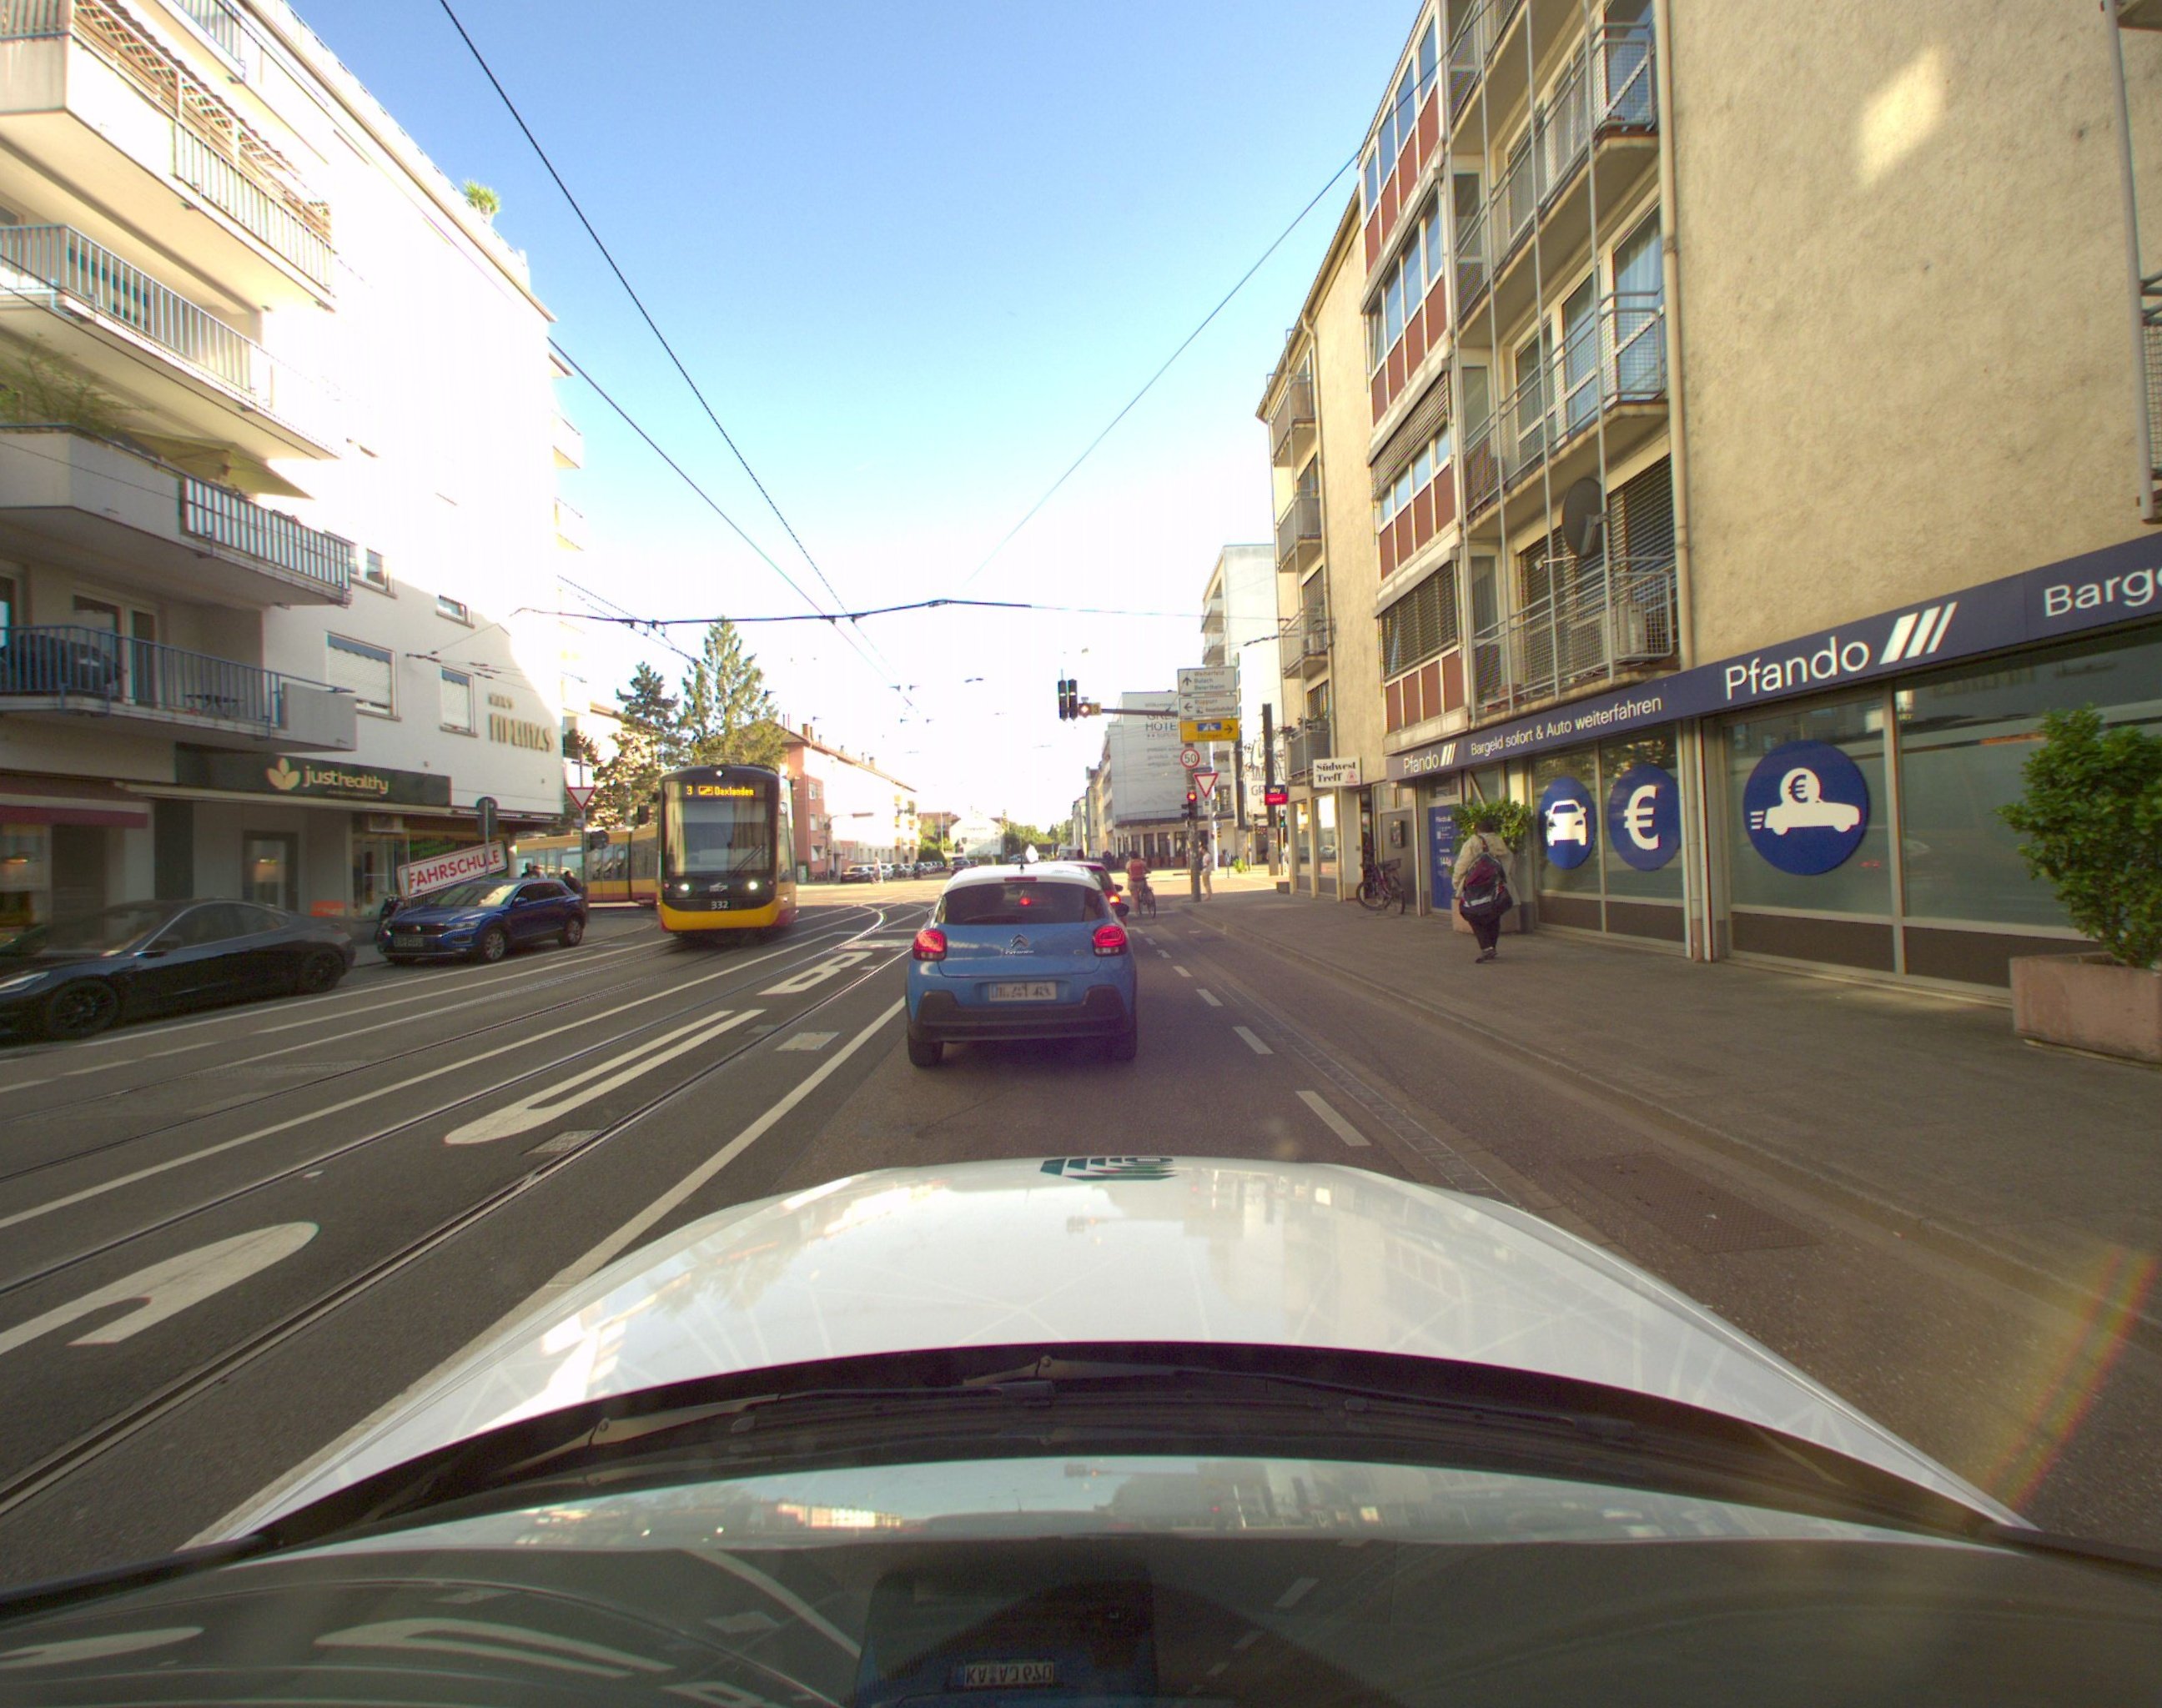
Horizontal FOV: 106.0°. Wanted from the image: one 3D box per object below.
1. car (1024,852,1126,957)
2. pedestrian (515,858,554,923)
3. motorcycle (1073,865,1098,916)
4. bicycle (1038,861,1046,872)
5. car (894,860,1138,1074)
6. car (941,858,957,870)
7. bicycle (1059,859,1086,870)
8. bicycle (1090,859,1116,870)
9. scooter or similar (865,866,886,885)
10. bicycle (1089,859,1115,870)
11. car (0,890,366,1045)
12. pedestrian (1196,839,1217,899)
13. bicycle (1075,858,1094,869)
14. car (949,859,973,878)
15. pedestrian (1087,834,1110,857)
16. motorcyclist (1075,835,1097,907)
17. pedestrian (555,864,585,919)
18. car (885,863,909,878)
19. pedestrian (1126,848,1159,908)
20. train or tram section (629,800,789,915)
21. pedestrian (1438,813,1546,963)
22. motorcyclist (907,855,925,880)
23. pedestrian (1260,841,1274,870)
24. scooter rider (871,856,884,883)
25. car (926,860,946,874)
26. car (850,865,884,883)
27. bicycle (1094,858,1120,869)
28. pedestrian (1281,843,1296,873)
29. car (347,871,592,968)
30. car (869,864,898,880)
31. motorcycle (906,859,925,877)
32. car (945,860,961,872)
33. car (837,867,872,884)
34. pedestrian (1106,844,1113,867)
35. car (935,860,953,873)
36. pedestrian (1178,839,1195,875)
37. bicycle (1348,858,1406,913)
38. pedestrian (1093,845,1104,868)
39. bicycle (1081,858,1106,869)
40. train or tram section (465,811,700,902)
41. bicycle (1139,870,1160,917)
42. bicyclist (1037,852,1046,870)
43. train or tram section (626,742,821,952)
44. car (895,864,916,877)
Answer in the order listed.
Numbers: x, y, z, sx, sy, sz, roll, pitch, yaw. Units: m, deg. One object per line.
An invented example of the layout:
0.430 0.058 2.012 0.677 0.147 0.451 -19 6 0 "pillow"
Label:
-0.037 0.752 13.286 1.419 1.467 2.925 -2 -1 2 "car"
-17.154 1.130 25.588 0.767 2.014 0.694 0 -1 -4 "pedestrian"
0.119 0.835 19.545 0.524 1.139 2.290 0 -1 2 "motorcycle"
-3.321 1.015 68.746 0.349 0.903 1.850 0 -1 -14 "bicycle"
-0.387 0.780 7.290 1.648 1.444 3.524 0 -1 2 "car"
-19.003 1.397 117.333 1.828 1.687 3.998 0 -1 -1 "car"
-0.708 0.875 66.397 2.130 0.901 0.366 0 -1 -7 "bicycle"
1.848 0.863 67.215 2.130 0.901 0.366 0 -1 -7 "bicycle"
-14.445 1.527 57.265 1.350 1.269 0.442 -3 -1 -10 "scooter or similar"
1.780 0.890 67.646 2.130 0.901 0.366 0 -1 -7 "bicycle"
-11.998 1.291 10.433 1.816 1.387 4.425 -3 0 -2 "car"
3.752 0.439 24.413 0.515 1.783 0.595 0 -1 0 "pedestrian"
0.296 0.820 69.573 1.765 0.901 0.369 -1 -1 36 "bicycle"
-11.325 1.341 76.849 1.770 1.666 3.854 0 -1 -2 "car"
1.634 -0.730 73.677 1.986 2.014 4.001 0 -1 2 "pedestrian"
0.126 0.401 19.736 0.524 1.716 0.717 0 -1 1 "motorcyclist"
-17.108 1.252 27.280 0.569 1.805 0.699 0 -1 1 "pedestrian"
-19.557 1.768 86.680 1.781 1.498 3.998 0 -1 -1 "car"
1.525 0.600 20.337 0.774 1.460 0.682 0 -1 1 "pedestrian"
-13.985 0.148 30.080 2.850 3.631 8.975 0 -1 -42 "train or tram section"
4.531 0.363 9.028 0.822 1.593 0.751 0 -1 1 "pedestrian"
-13.682 1.090 67.602 1.182 2.013 1.275 -2 0 -1 "motorcyclist"
10.523 0.091 45.991 0.730 1.601 0.751 -1 -1 15 "pedestrian"
-14.327 1.075 57.266 0.722 1.832 0.715 -3 -1 -9 "scooter rider"
-18.937 1.674 106.577 1.978 1.687 3.998 0 -1 -1 "car"
-19.388 1.783 73.899 1.808 1.498 4.302 0 0 2 "car"
2.111 0.765 66.031 2.130 0.901 0.366 0 -1 -7 "bicycle"
11.602 0.215 45.491 0.746 1.657 0.887 -1 -1 18 "pedestrian"
-11.903 1.185 16.263 1.864 1.531 4.068 -2 0 -2 "car"
-19.390 1.745 80.076 1.781 1.511 4.150 0 -1 1 "car"
-13.645 1.140 67.275 0.921 1.486 3.724 0 -1 -1 "motorcycle"
-19.139 1.765 121.951 1.841 1.687 3.872 0 -1 -1 "car"
-19.283 1.815 69.426 1.787 1.421 3.996 0 0 1 "car"
2.456 0.142 70.415 0.575 2.014 0.625 0 -1 -1 "pedestrian"
-18.855 1.682 111.935 1.877 1.687 3.998 0 -1 -1 "car"
6.074 0.169 46.919 0.922 2.014 0.760 0 -1 1 "pedestrian"
5.701 0.580 15.771 0.540 0.998 1.706 0 -1 2 "bicycle"
1.501 0.208 69.329 0.635 2.014 0.717 0 -1 -34 "pedestrian"
1.053 0.818 68.482 2.130 0.901 0.366 0 -1 -7 "bicycle"
-23.156 0.192 37.287 14.082 3.632 2.771 -1 -1 30 "train or tram section"
1.718 0.973 20.615 0.426 1.123 1.999 0 -1 2 "bicycle"
-3.322 0.601 68.744 0.562 1.477 0.743 0 -1 -17 "bicyclist"
-8.680 -0.052 20.328 3.075 3.594 12.535 -2 0 -22 "train or tram section"
-19.982 1.851 92.788 1.728 1.498 3.996 0 -1 -2 "car"
